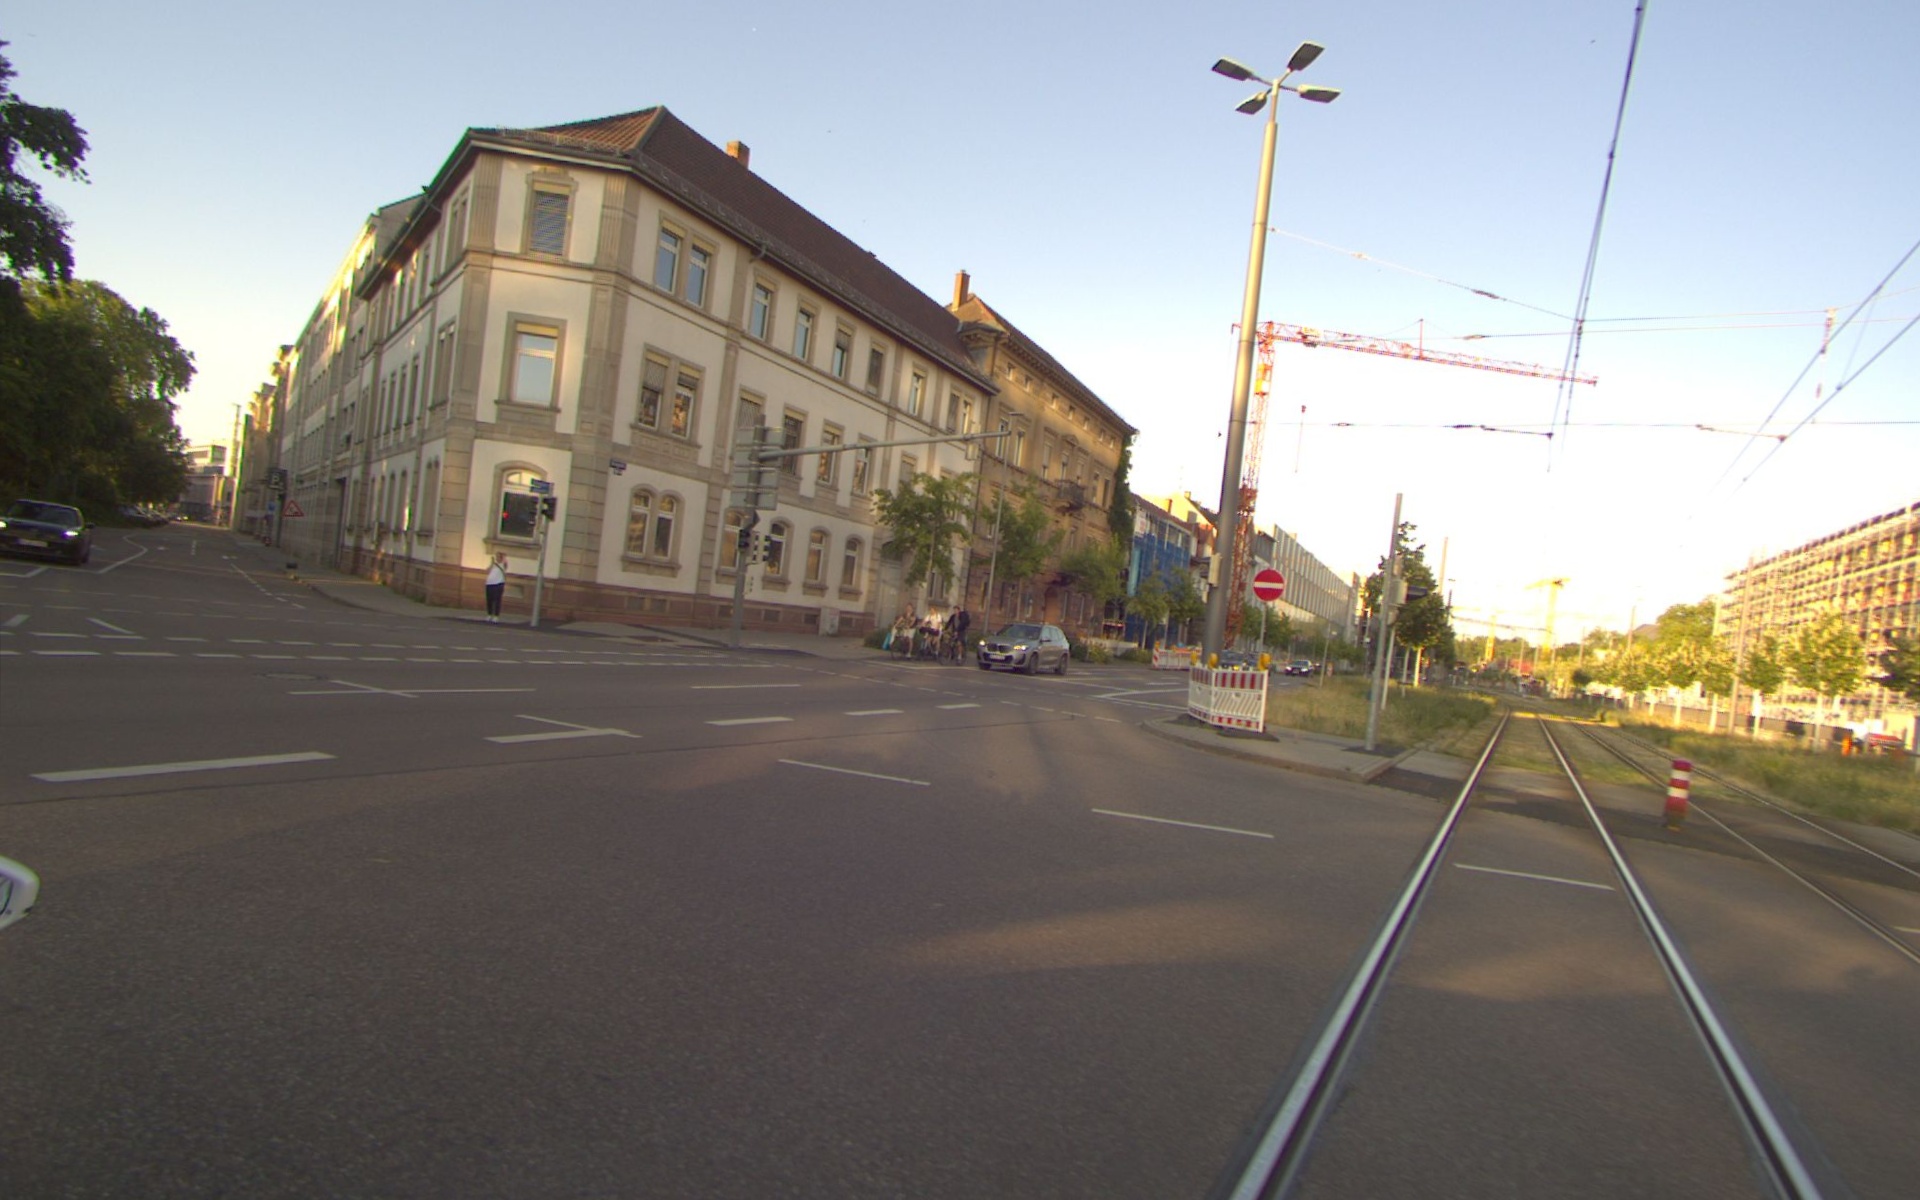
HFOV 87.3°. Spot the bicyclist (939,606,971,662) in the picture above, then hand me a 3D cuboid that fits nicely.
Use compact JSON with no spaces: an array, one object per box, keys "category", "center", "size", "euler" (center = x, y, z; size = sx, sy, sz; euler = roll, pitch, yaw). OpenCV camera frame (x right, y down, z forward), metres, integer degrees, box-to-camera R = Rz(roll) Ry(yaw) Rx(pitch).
[{"category":"bicyclist","center":[-0.162,1.102,32.304],"size":[0.693,1.723,0.767],"euler":[4,1,20]}]

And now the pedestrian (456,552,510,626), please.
[{"category":"pedestrian","center":[-11.608,-0.263,24.500],"size":[0.803,1.677,0.637],"euler":[7,0,7]}]

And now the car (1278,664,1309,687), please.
[{"category":"car","center":[27.518,6.234,82.979],"size":[1.674,1.616,3.886],"euler":[6,-1,27]}]

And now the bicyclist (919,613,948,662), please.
[{"category":"bicyclist","center":[-0.888,1.254,33.626],"size":[0.504,1.568,0.691],"euler":[8,1,29]}]

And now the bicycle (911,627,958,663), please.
[{"category":"bicycle","center":[-0.847,1.528,33.774],"size":[0.509,1.064,2.041],"euler":[8,0,29]}]

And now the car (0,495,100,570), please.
[{"category":"car","center":[-22.810,-1.700,24.977],"size":[1.814,1.535,3.541],"euler":[8,-1,-36]}]

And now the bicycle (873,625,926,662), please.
[{"category":"bicycle","center":[-1.894,1.400,31.944],"size":[0.520,1.065,2.043],"euler":[10,2,29]}]

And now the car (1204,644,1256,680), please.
[{"category":"car","center":[14.201,3.283,52.811],"size":[1.674,1.616,4.256],"euler":[6,-1,27]}]

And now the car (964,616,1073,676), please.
[{"category":"car","center":[1.975,1.539,32.468],"size":[1.803,1.616,4.256],"euler":[6,-1,27]}]

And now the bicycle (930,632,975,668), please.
[{"category":"bicycle","center":[-0.220,1.595,32.262],"size":[0.708,1.064,2.044],"euler":[5,-1,20]}]

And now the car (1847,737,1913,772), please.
[{"category":"car","center":[55.840,9.349,61.145],"size":[1.966,1.593,3.994],"euler":[7,-1,30]}]

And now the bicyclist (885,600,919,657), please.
[{"category":"bicyclist","center":[-1.836,0.920,31.914],"size":[0.501,1.723,0.766],"euler":[10,3,30]}]
